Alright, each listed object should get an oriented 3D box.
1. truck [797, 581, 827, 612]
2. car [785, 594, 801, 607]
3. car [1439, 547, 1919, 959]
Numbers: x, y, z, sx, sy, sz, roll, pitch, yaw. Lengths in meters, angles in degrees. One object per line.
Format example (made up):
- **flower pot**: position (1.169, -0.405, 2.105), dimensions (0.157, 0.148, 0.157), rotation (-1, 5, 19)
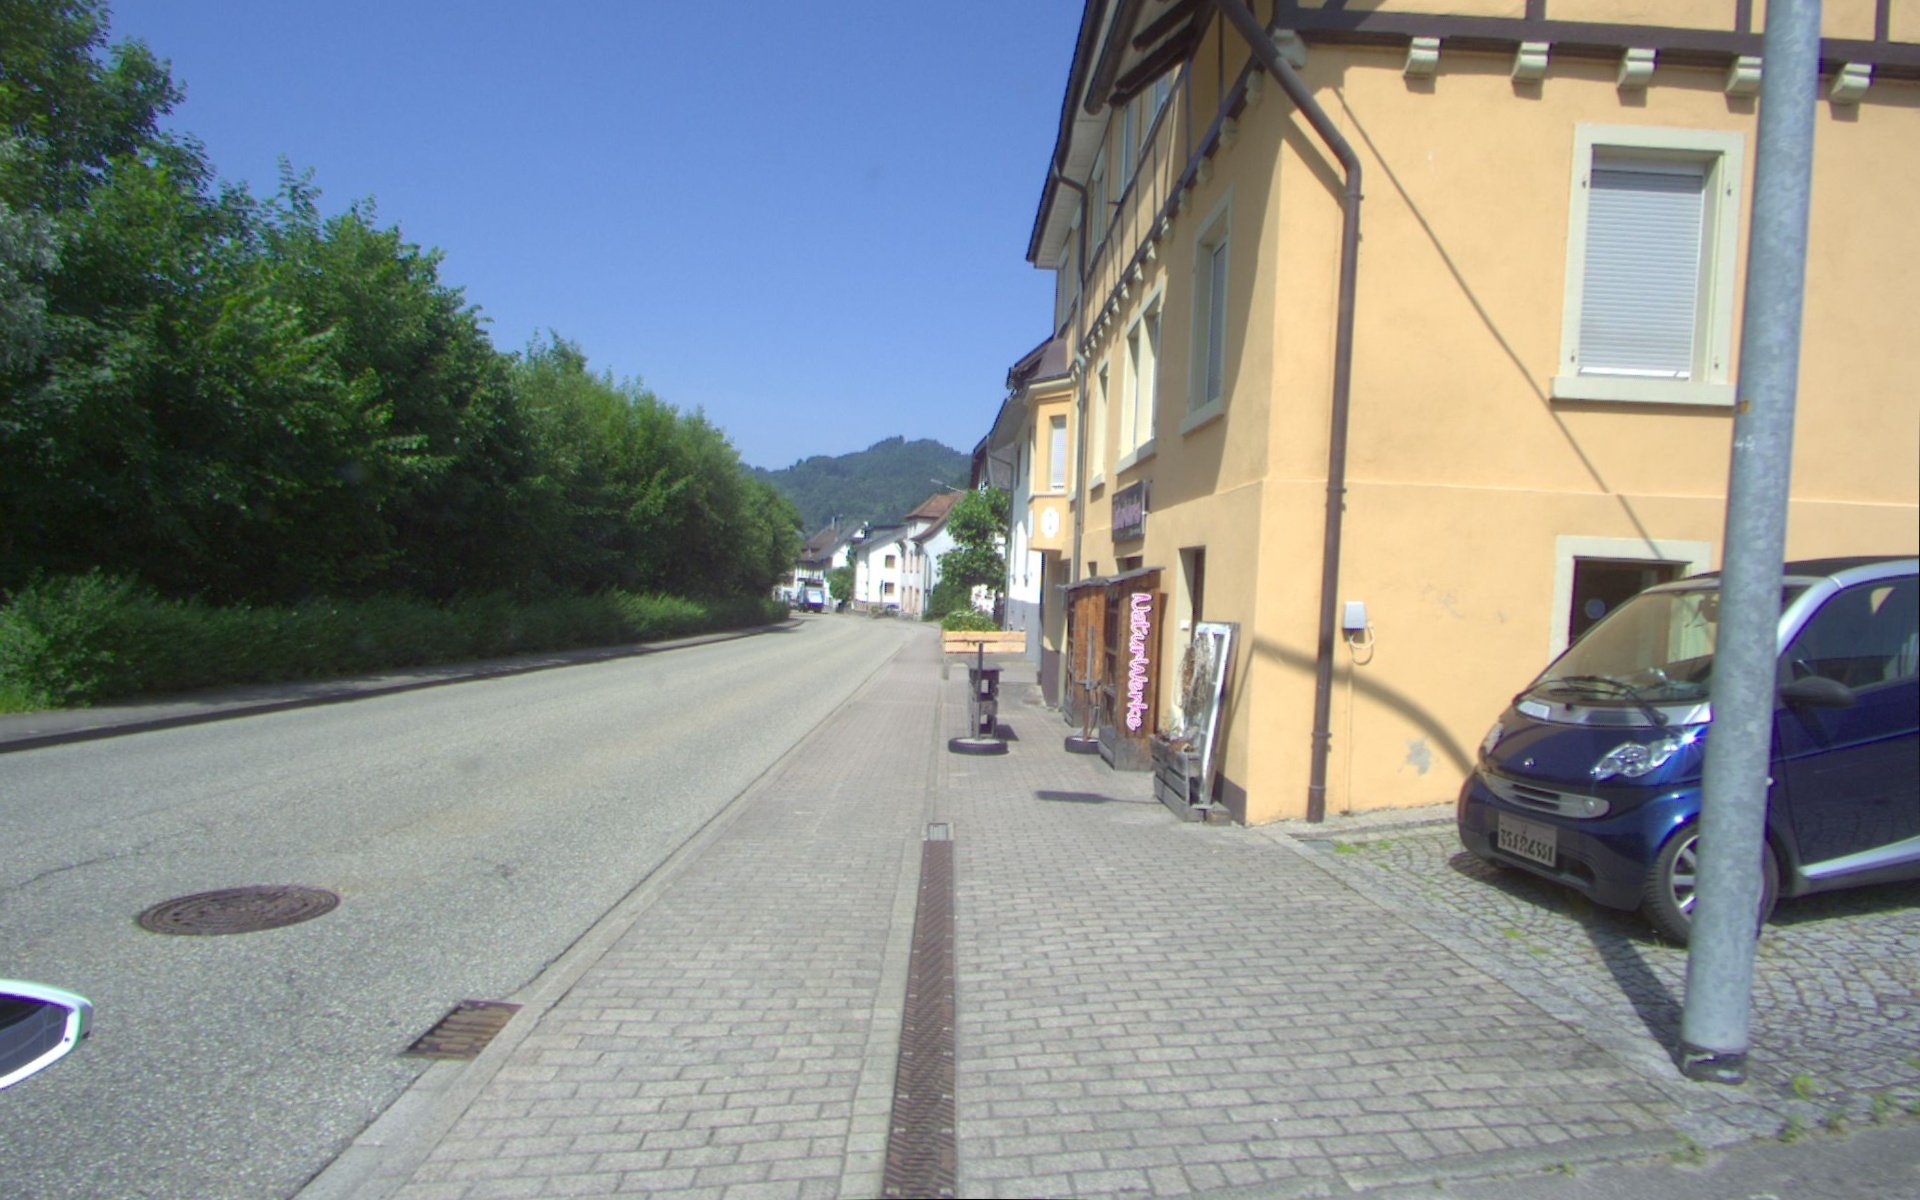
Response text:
- **truck**: position (-19.931, -0.418, 134.500), dimensions (3.311, 3.831, 8.433), rotation (-2, -1, -12)
- **car**: position (-25.775, 0.111, 154.174), dimensions (1.964, 1.906, 3.994), rotation (-2, -1, -16)
- **car**: position (3.960, 0.572, 4.749), dimensions (2.610, 1.556, 1.425), rotation (-3, 0, -5)
